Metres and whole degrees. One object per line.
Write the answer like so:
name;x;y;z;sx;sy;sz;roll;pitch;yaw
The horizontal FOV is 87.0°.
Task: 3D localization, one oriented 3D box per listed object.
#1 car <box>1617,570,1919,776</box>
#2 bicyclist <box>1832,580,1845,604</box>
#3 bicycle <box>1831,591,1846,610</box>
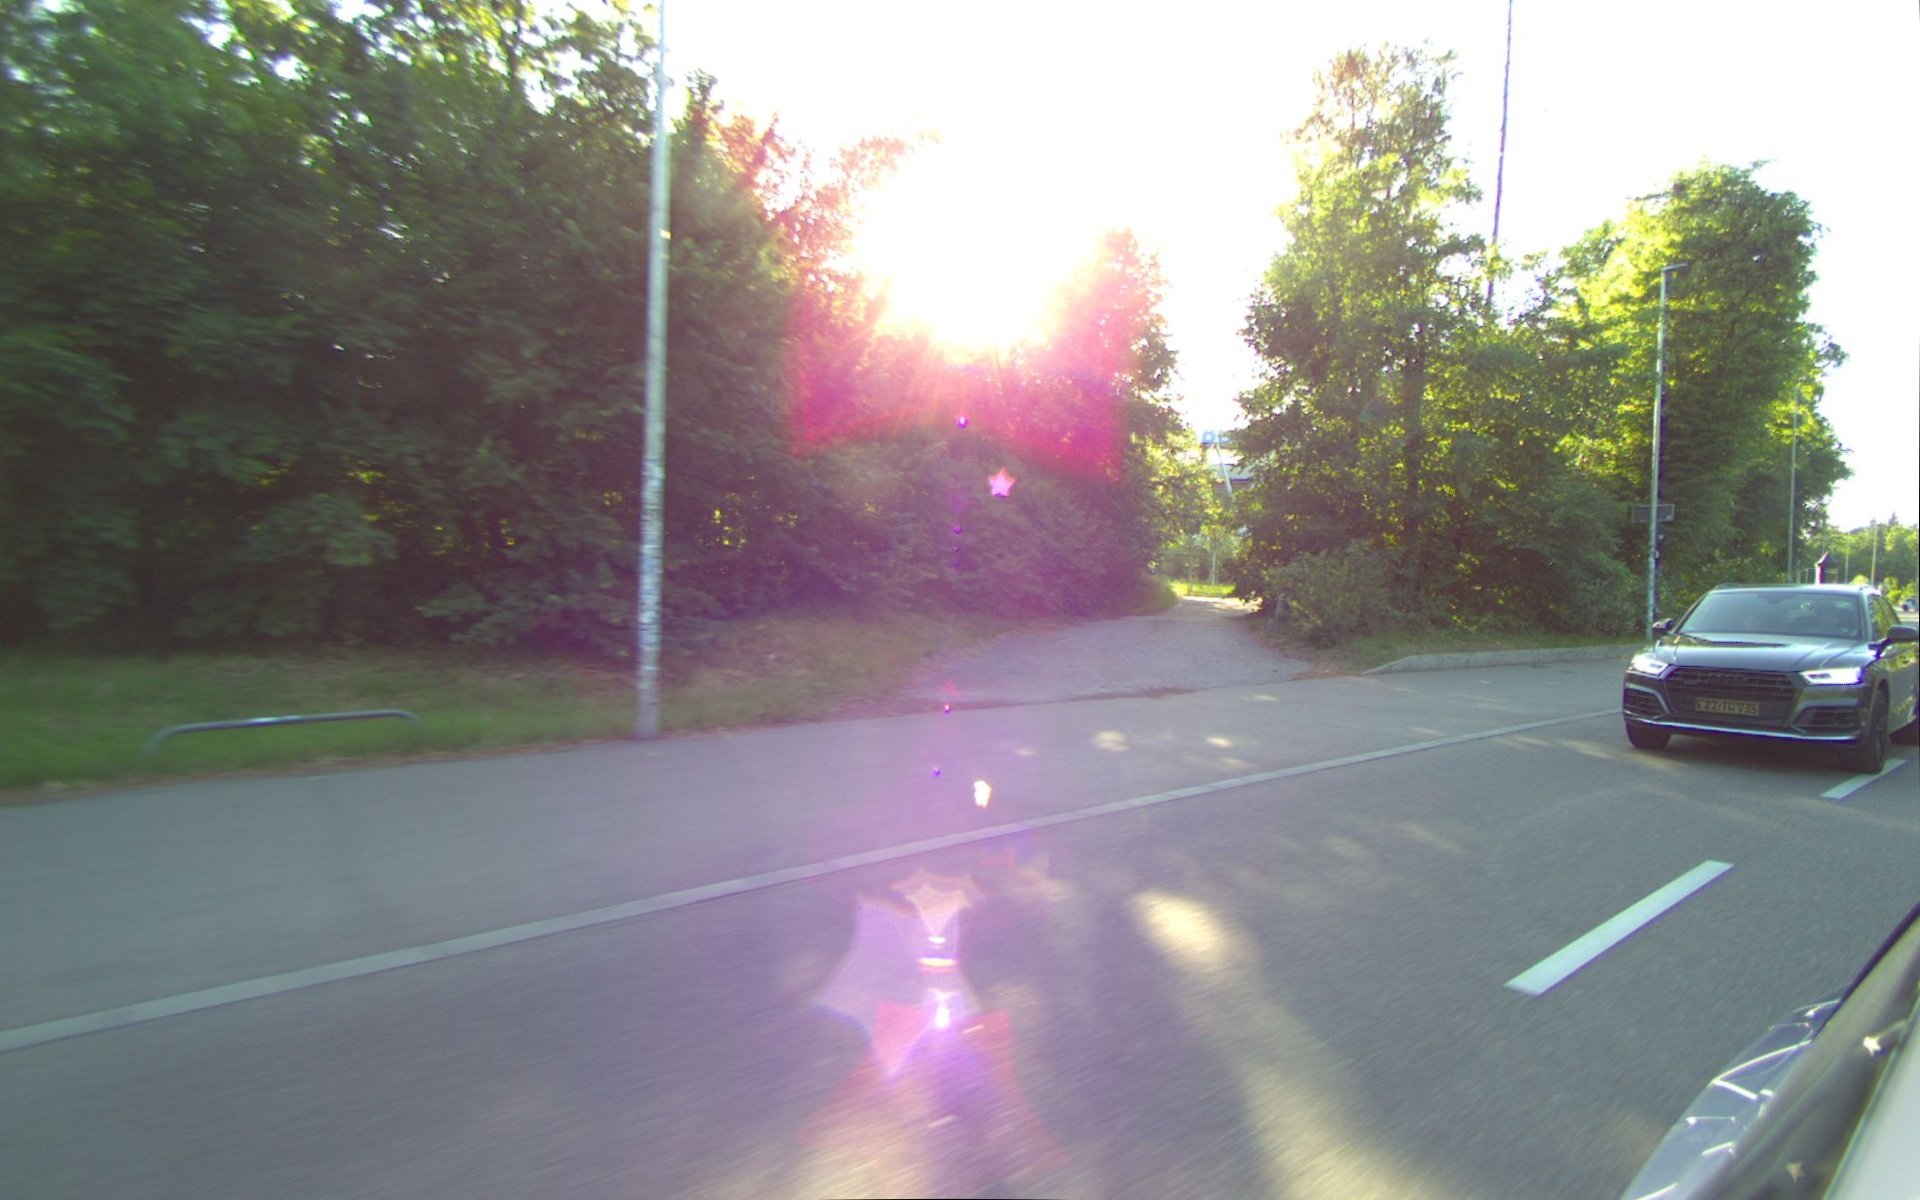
car;8.416;0.554;10.188;4.465;1.625;1.896;0;1;-41
bicyclist;56.359;-0.520;64.938;0.519;1.487;0.850;1;1;36
bicycle;56.322;0.036;64.911;0.553;1.151;1.840;2;2;36
